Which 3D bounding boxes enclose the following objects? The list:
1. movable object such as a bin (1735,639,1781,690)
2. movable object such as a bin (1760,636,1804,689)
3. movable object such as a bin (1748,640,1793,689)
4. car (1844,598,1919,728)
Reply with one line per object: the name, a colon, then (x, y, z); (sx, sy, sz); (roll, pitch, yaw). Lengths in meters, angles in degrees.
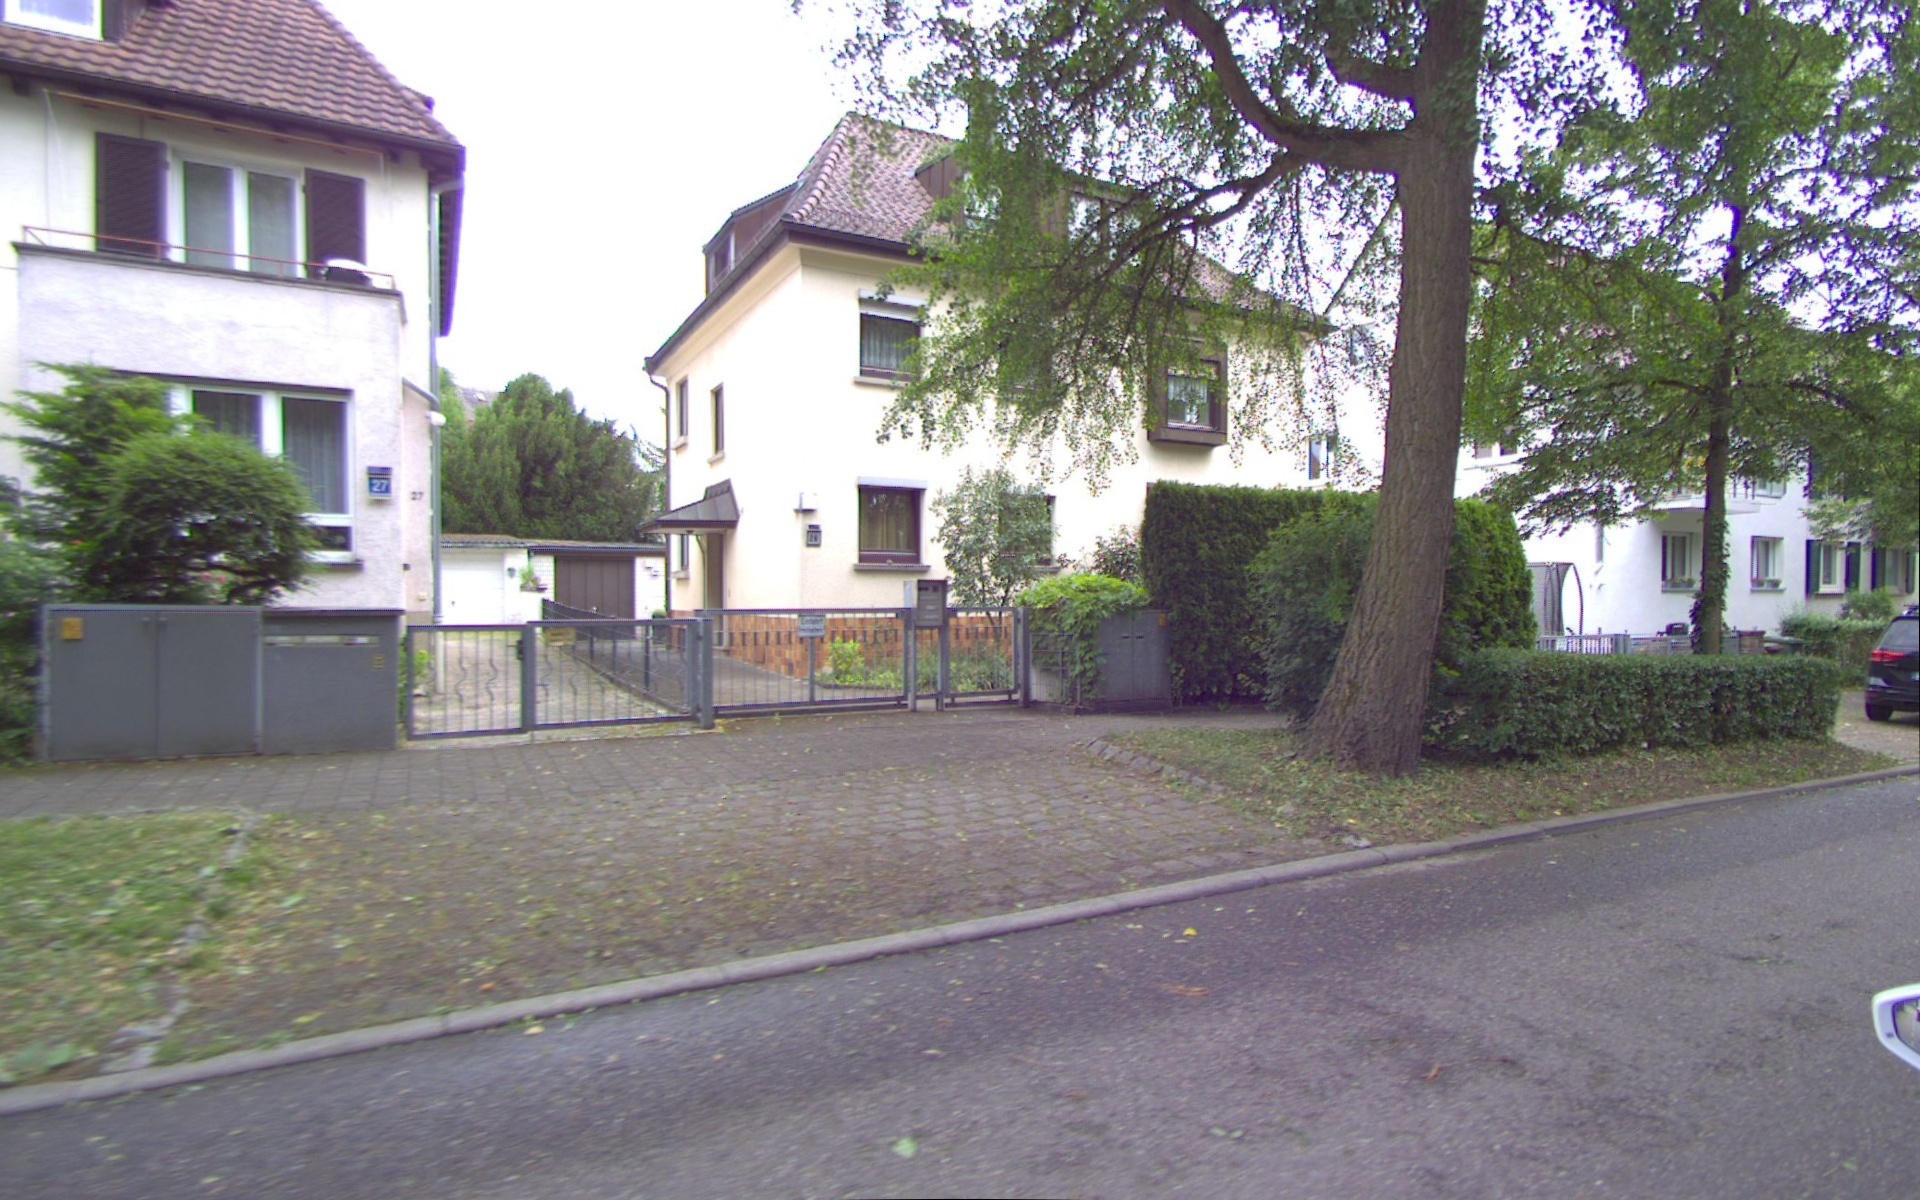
movable object such as a bin: (15.662, 1.260, 19.722); (0.634, 0.953, 0.556); (1, -1, -35)
movable object such as a bin: (16.739, 1.255, 20.454); (0.596, 1.039, 0.556); (1, -1, -35)
movable object such as a bin: (16.203, 1.276, 20.086); (0.634, 0.953, 0.556); (1, -1, -35)
car: (15.140, 0.914, 14.986); (4.406, 1.777, 1.814); (1, 0, -33)
